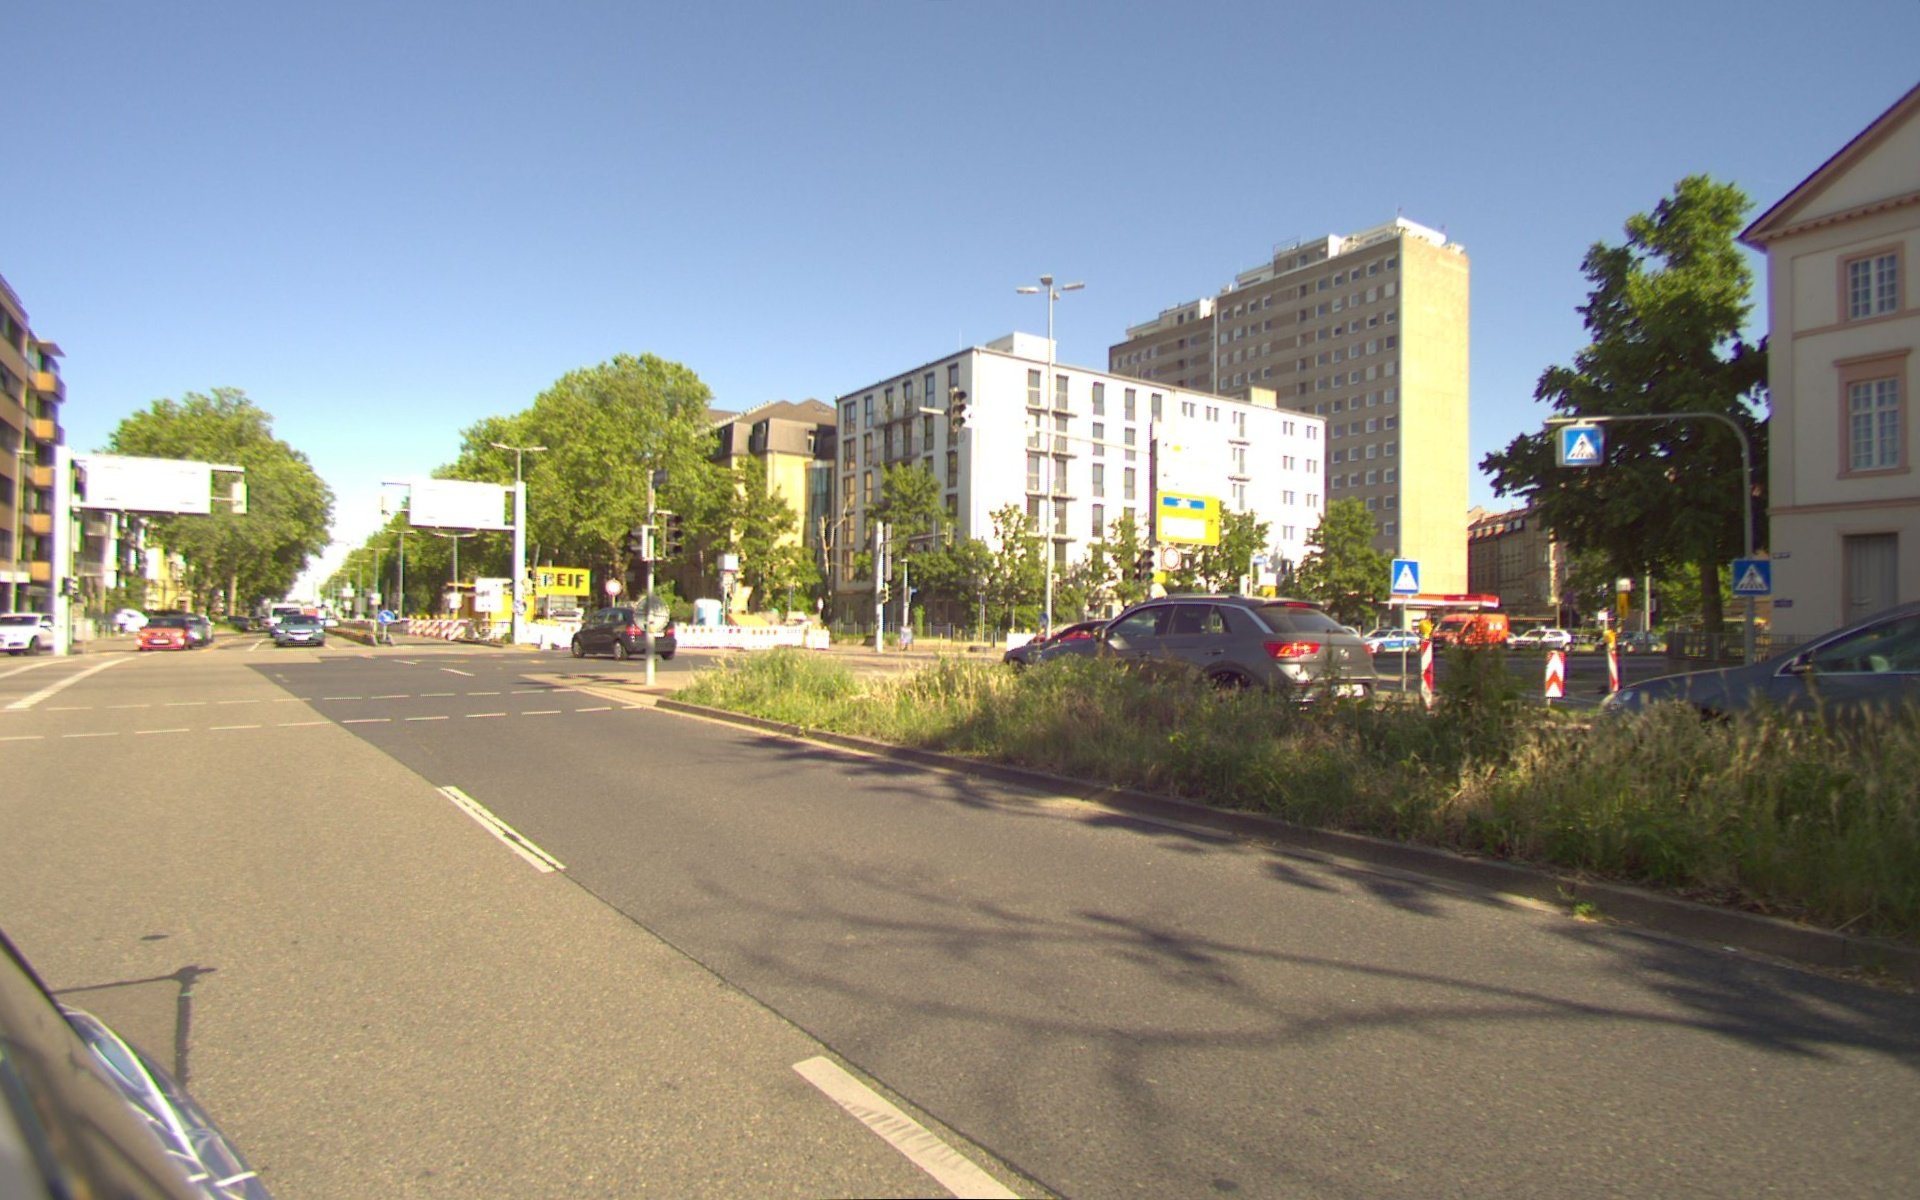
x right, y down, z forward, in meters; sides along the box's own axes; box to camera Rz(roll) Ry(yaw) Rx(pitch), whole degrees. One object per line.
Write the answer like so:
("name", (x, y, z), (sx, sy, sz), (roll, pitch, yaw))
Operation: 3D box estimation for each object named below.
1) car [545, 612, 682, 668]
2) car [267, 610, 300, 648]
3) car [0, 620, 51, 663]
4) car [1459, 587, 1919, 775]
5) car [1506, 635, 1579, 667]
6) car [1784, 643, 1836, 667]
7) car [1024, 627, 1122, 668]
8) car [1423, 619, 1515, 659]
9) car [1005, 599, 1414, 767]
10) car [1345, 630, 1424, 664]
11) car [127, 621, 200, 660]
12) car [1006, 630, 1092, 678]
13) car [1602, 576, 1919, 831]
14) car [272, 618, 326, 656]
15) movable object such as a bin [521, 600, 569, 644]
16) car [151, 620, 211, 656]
("car", (-10.537, 1.171, 30.699), (4.270, 1.598, 1.840), (-1, -2, 37))
("car", (-47.437, 2.011, 70.945), (1.853, 2.532, 4.462), (1, -2, -35))
("car", (-35.835, 1.605, 38.061), (1.853, 1.530, 4.561), (0, -3, -34))
("car", (7.576, 0.675, 10.074), (1.772, 1.530, 4.356), (0, -1, -37))
("car", (37.728, 3.253, 65.519), (4.630, 1.828, 1.925), (0, 1, -29))
("car", (65.170, 4.213, 77.598), (3.932, 1.719, 1.859), (1, -2, -32))
("car", (5.024, 2.080, 44.947), (3.931, 1.630, 1.925), (0, 1, -28))
("car", (30.683, 2.294, 60.906), (5.798, 2.247, 1.925), (0, 1, -28))
("car", (2.587, 0.771, 11.470), (1.772, 1.530, 4.356), (0, -1, -37))
("car", (23.825, 2.589, 56.755), (4.633, 1.630, 1.924), (0, 2, -35))
("car", (-33.997, 1.689, 43.301), (1.852, 1.530, 4.012), (0, -1, -30))
("car", (4.365, 2.588, 49.392), (3.939, 2.029, 2.003), (0, 2, -42))
("car", (6.753, 0.608, 6.224), (1.772, 1.530, 4.372), (0, -1, -37))
("car", (-30.922, 1.689, 47.432), (1.852, 1.530, 4.013), (0, 2, -30))
("movable object such as a bin", (-25.539, 1.289, 62.252), (1.966, 2.494, 4.011), (0, 2, -33))
("car", (-38.884, 1.857, 50.626), (1.852, 1.530, 4.013), (0, 2, -30))
